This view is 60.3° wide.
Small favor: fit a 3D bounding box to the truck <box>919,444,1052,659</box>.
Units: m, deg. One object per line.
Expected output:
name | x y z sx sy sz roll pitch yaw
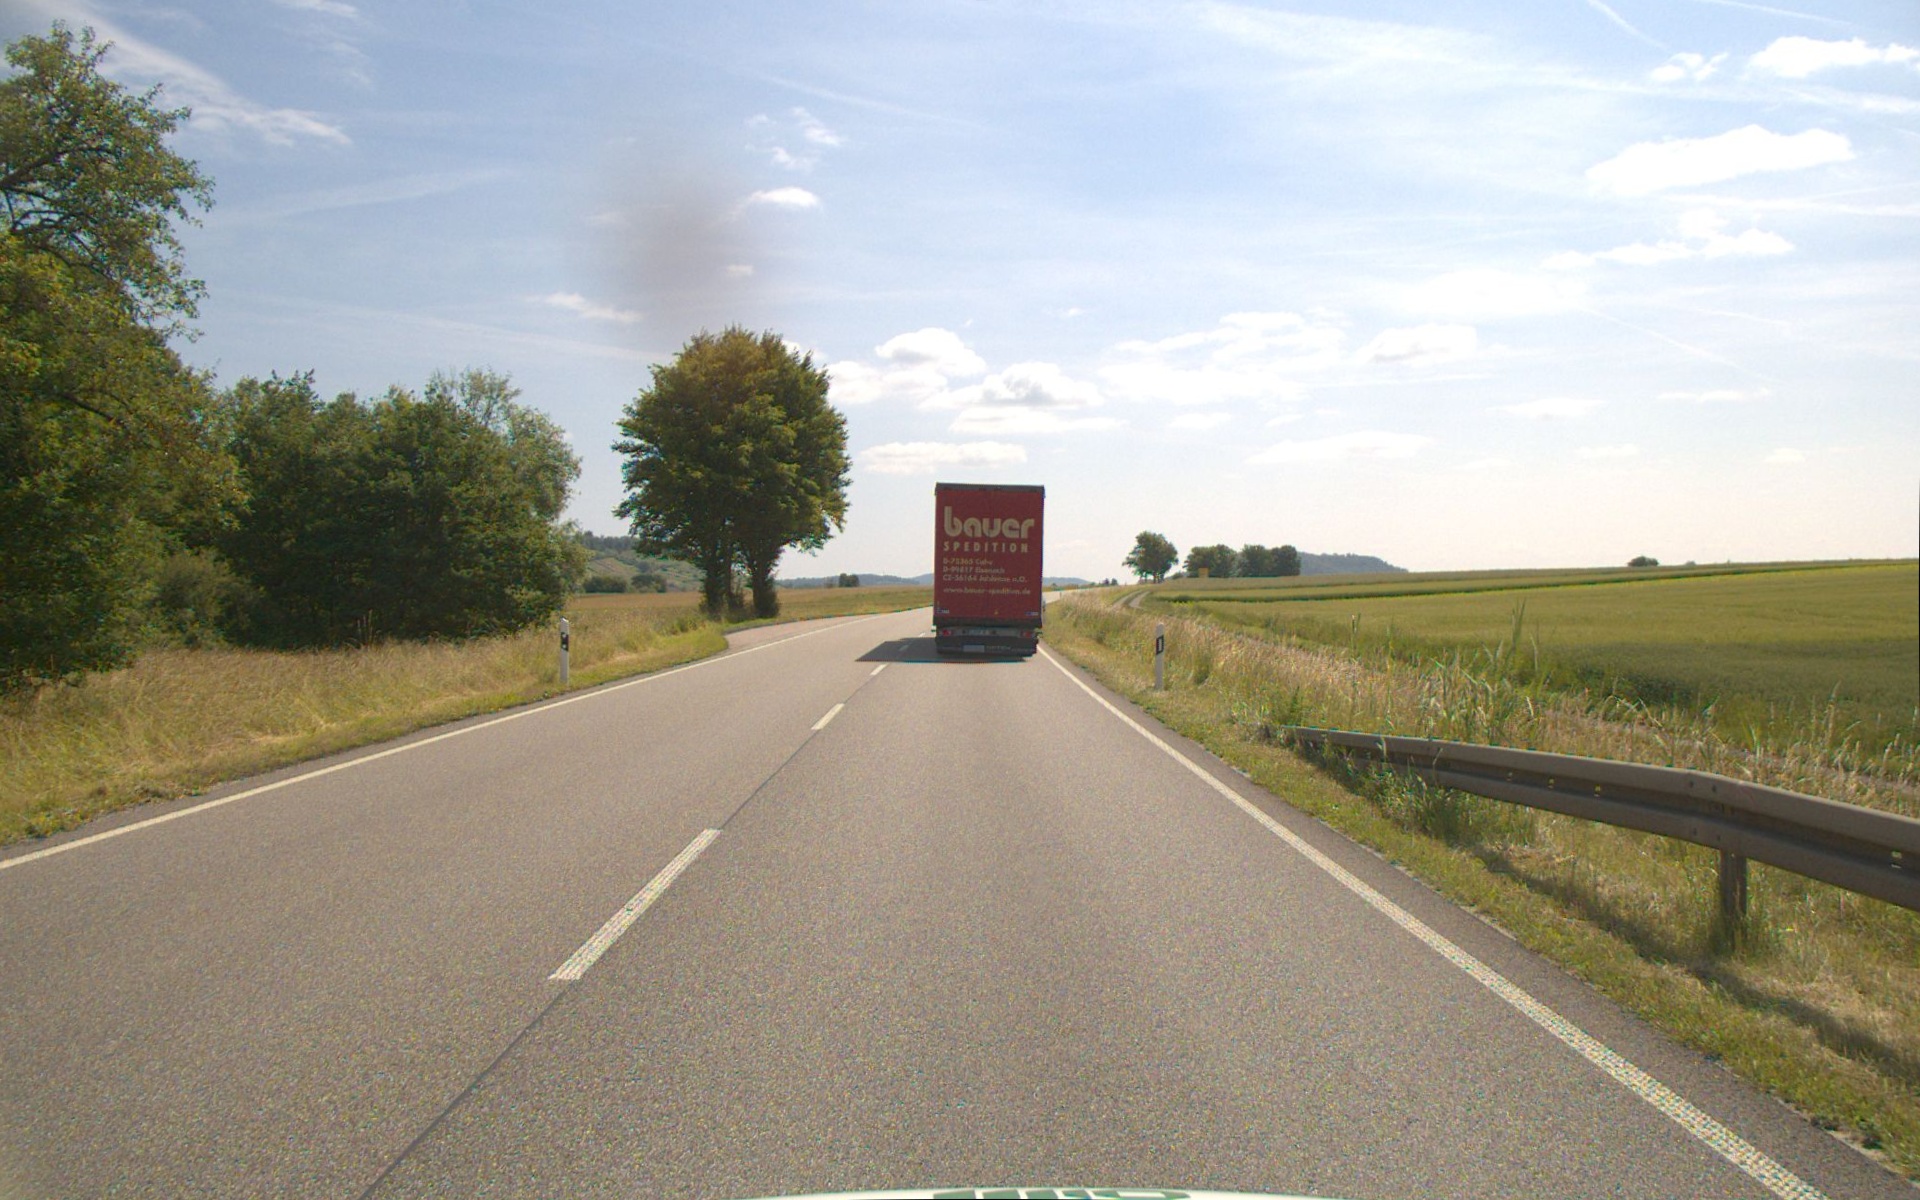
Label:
truck | 0.464 -1.082 42.087 2.915 4.796 9.362 1 0 -2
